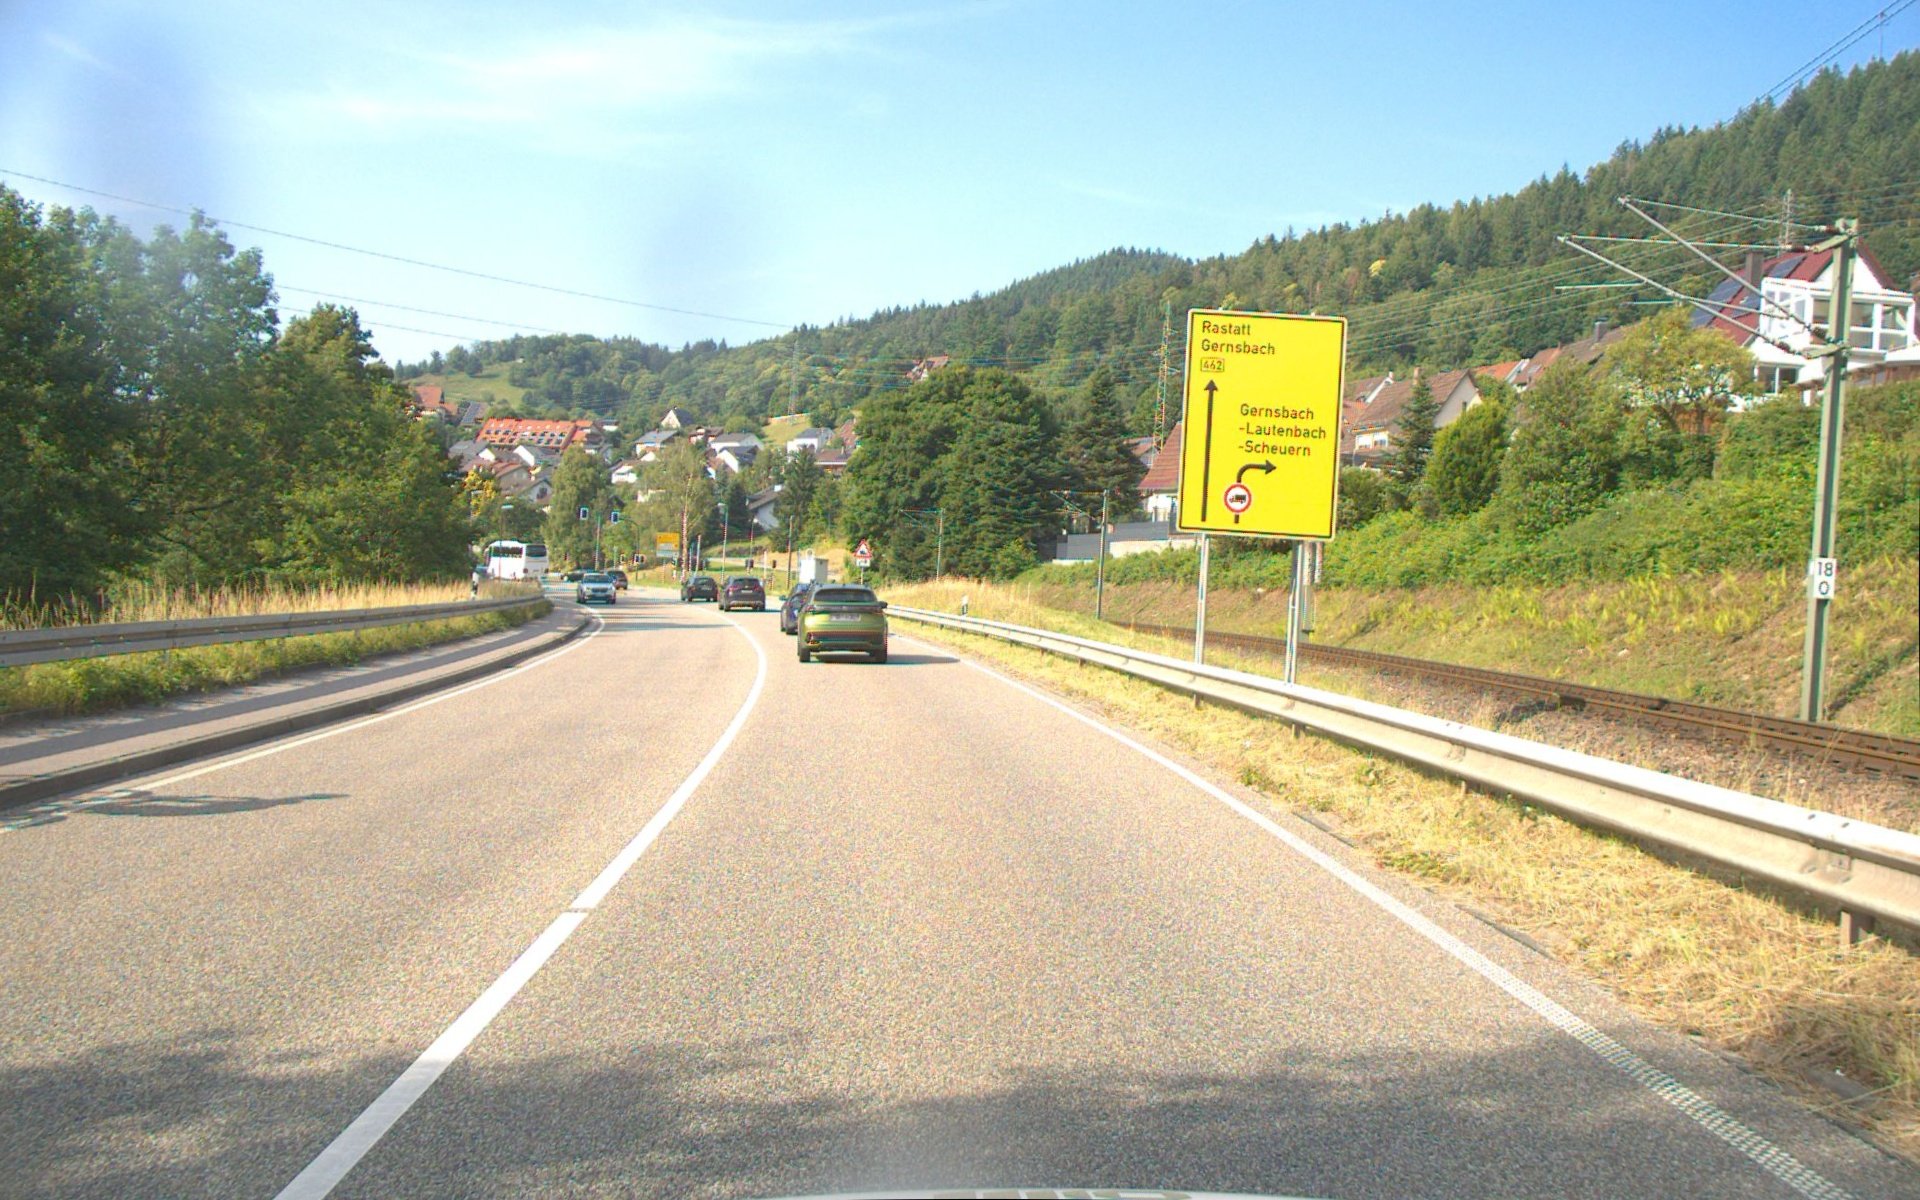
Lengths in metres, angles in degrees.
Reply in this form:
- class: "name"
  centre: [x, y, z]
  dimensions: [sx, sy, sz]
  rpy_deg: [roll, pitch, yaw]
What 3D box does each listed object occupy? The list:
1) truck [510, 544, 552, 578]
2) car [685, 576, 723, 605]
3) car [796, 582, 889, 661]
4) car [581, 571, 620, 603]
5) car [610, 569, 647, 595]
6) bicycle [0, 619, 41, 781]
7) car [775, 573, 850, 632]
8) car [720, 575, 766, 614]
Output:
- class: "truck"
  centre: [-41.712, -3.822, 160.739]
  dimensions: [2.681, 3.137, 6.052]
  rpy_deg: [-1, 2, -28]
- class: "car"
  centre: [-15.087, -0.578, 97.218]
  dimensions: [1.818, 1.553, 3.649]
  rpy_deg: [3, 1, -14]
- class: "car"
  centre: [-2.389, 0.388, 32.928]
  dimensions: [1.682, 1.480, 3.995]
  rpy_deg: [0, 0, -6]
- class: "car"
  centre: [-19.556, -0.715, 89.872]
  dimensions: [1.959, 1.658, 3.987]
  rpy_deg: [1, 1, -13]
- class: "car"
  centre: [-26.784, -1.461, 133.666]
  dimensions: [2.036, 1.842, 3.970]
  rpy_deg: [4, 0, -24]
- class: "bicycle"
  centre: [-6.746, 0.680, 10.410]
  dimensions: [0.546, 1.063, 2.230]
  rpy_deg: [5, 1, 2]
- class: "car"
  centre: [-4.330, 0.059, 48.106]
  dimensions: [1.638, 1.586, 3.988]
  rpy_deg: [2, 0, -12]
- class: "car"
  centre: [-10.202, -0.258, 77.577]
  dimensions: [1.846, 1.716, 3.990]
  rpy_deg: [2, 0, -11]
